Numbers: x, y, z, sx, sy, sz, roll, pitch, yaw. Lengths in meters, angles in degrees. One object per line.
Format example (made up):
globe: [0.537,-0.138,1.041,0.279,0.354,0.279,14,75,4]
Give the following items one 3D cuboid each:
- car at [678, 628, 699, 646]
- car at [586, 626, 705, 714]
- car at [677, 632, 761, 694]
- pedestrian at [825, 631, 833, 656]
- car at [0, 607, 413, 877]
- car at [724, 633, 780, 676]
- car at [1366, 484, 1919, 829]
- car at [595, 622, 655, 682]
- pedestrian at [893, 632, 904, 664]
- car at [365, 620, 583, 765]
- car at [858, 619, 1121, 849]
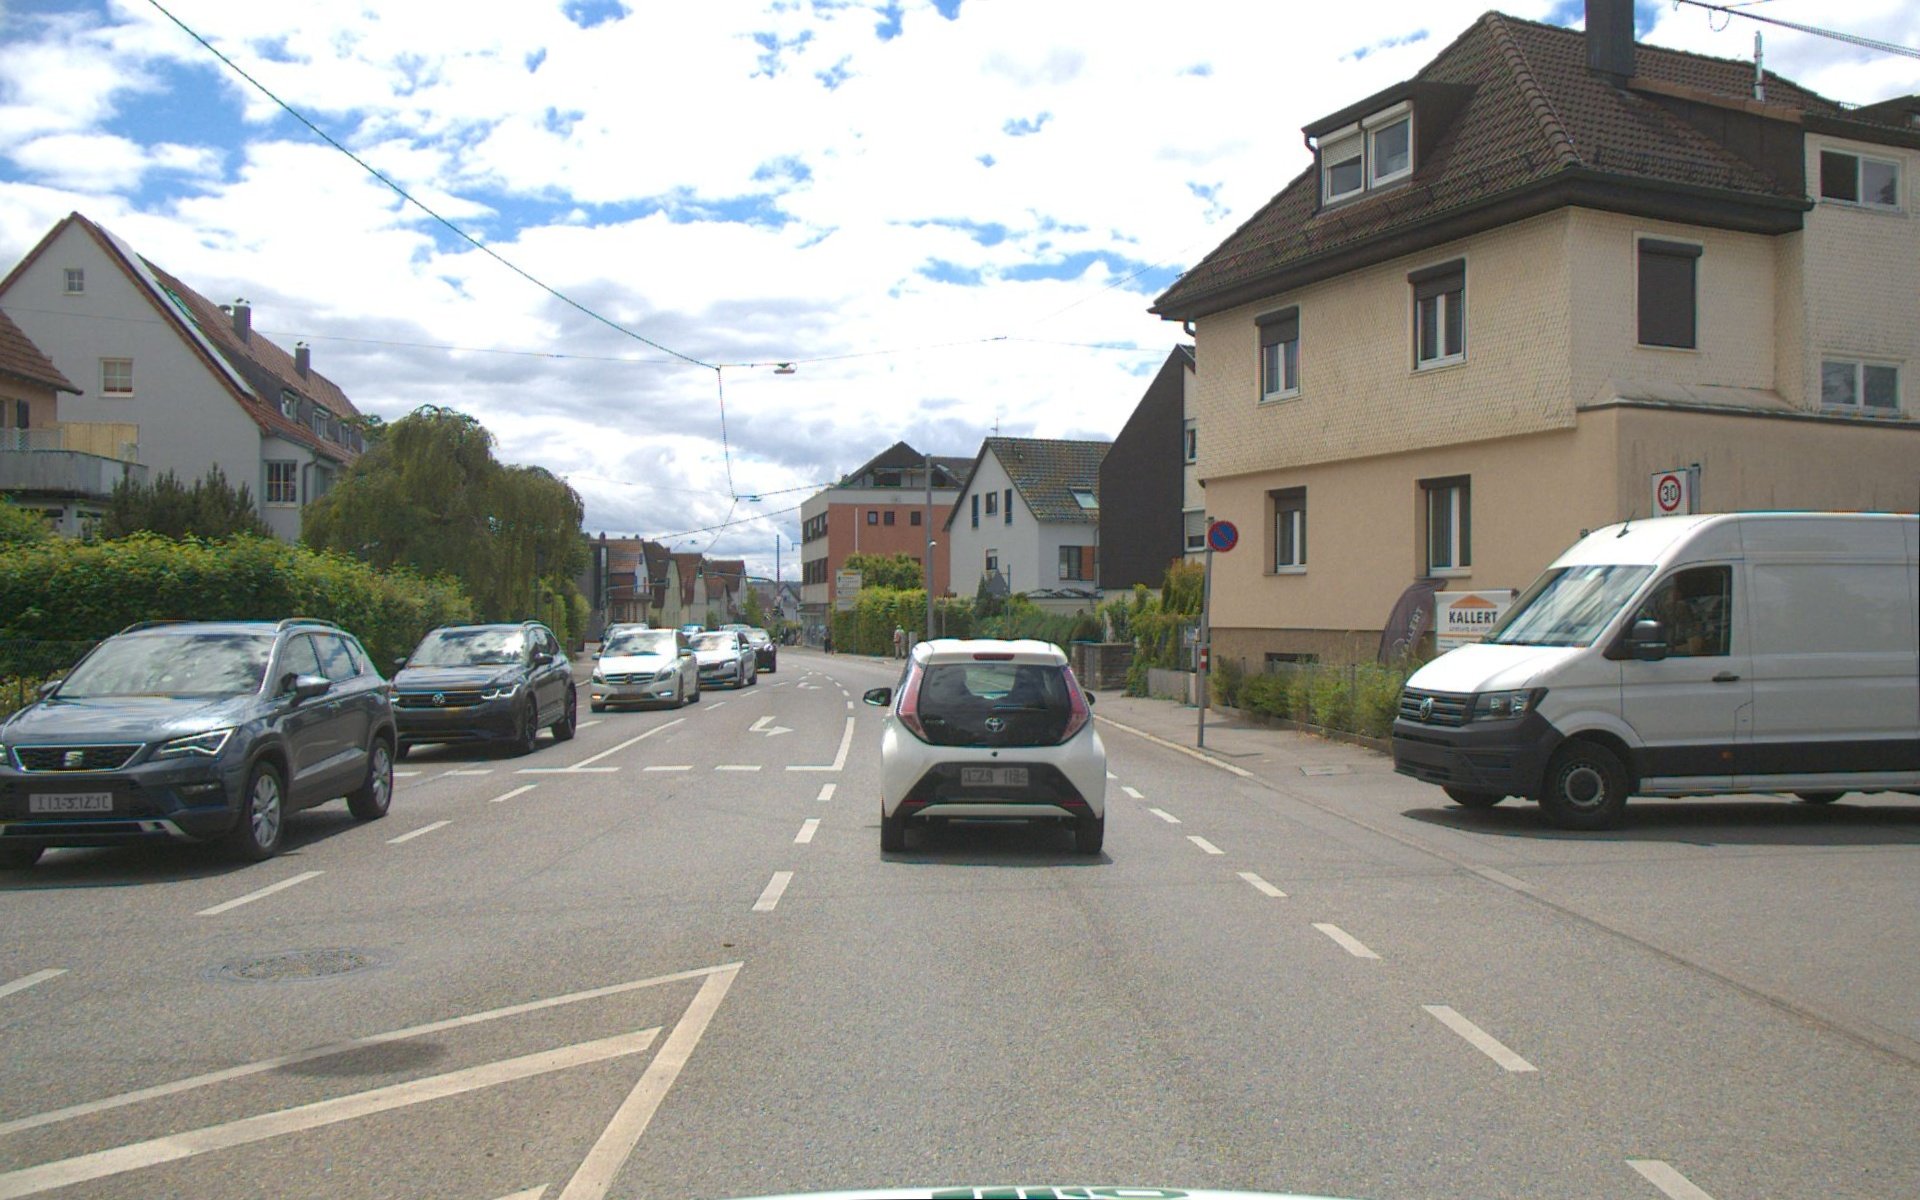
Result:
car: [-27.133,3.682,165.333,1.957,1.713,3.991,2,-1,-9]
car: [-6.289,1.372,33.462,1.740,1.589,4.166,-2,-1,-3]
car: [-6.285,1.624,43.563,1.740,1.455,4.519,-2,-1,-3]
pedestrian: [-7.760,2.607,98.236,0.405,1.463,0.436,1,-1,-10]
car: [-5.470,0.905,12.116,1.739,1.631,4.036,0,-1,-3]
car: [-7.260,1.876,58.079,1.740,1.455,4.004,0,-1,-4]
car: [6.648,0.459,14.246,5.892,2.627,1.993,0,-1,-13]
car: [-11.356,1.742,56.265,1.742,1.878,4.000,-2,-1,-9]
pedestrian: [-2.853,2.226,77.010,0.406,1.463,0.436,1,-1,-15]
car: [-6.228,1.129,21.675,1.740,1.631,4.166,-2,-1,-3]
car: [0.084,0.948,13.015,1.590,1.512,3.994,1,-2,-6]
